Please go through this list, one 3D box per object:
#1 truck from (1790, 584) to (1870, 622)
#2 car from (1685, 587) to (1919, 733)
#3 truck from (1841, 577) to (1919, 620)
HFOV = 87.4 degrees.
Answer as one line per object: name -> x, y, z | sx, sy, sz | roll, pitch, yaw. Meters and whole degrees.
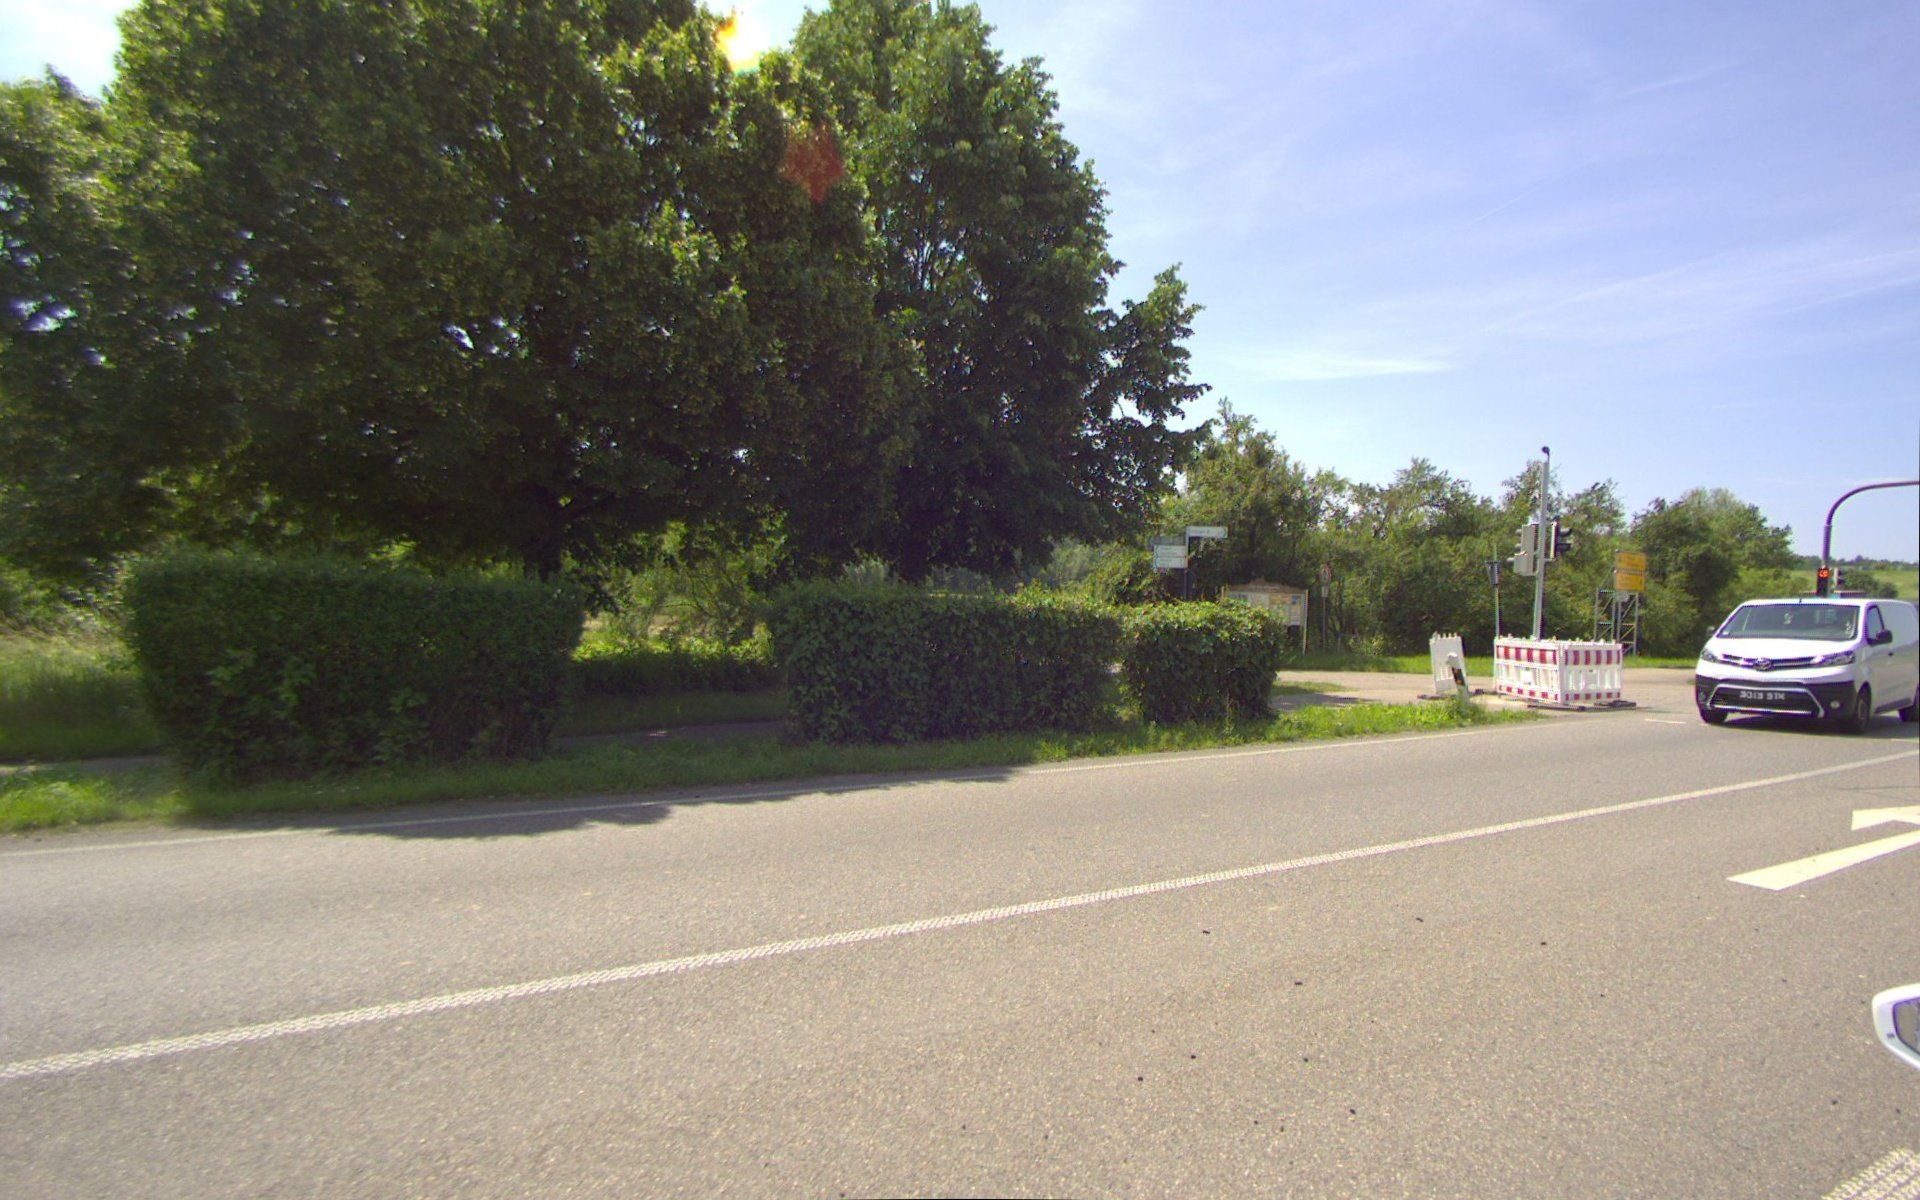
truck -> 109.507, 0.492, 126.803 | 3.472, 4.296, 13.401 | 2, -1, 23
car -> 13.084, 0.855, 15.384 | 4.905, 1.911, 1.857 | 2, -1, -37
truck -> 102.805, -0.040, 111.196 | 3.578, 4.184, 13.095 | 2, -1, 22
